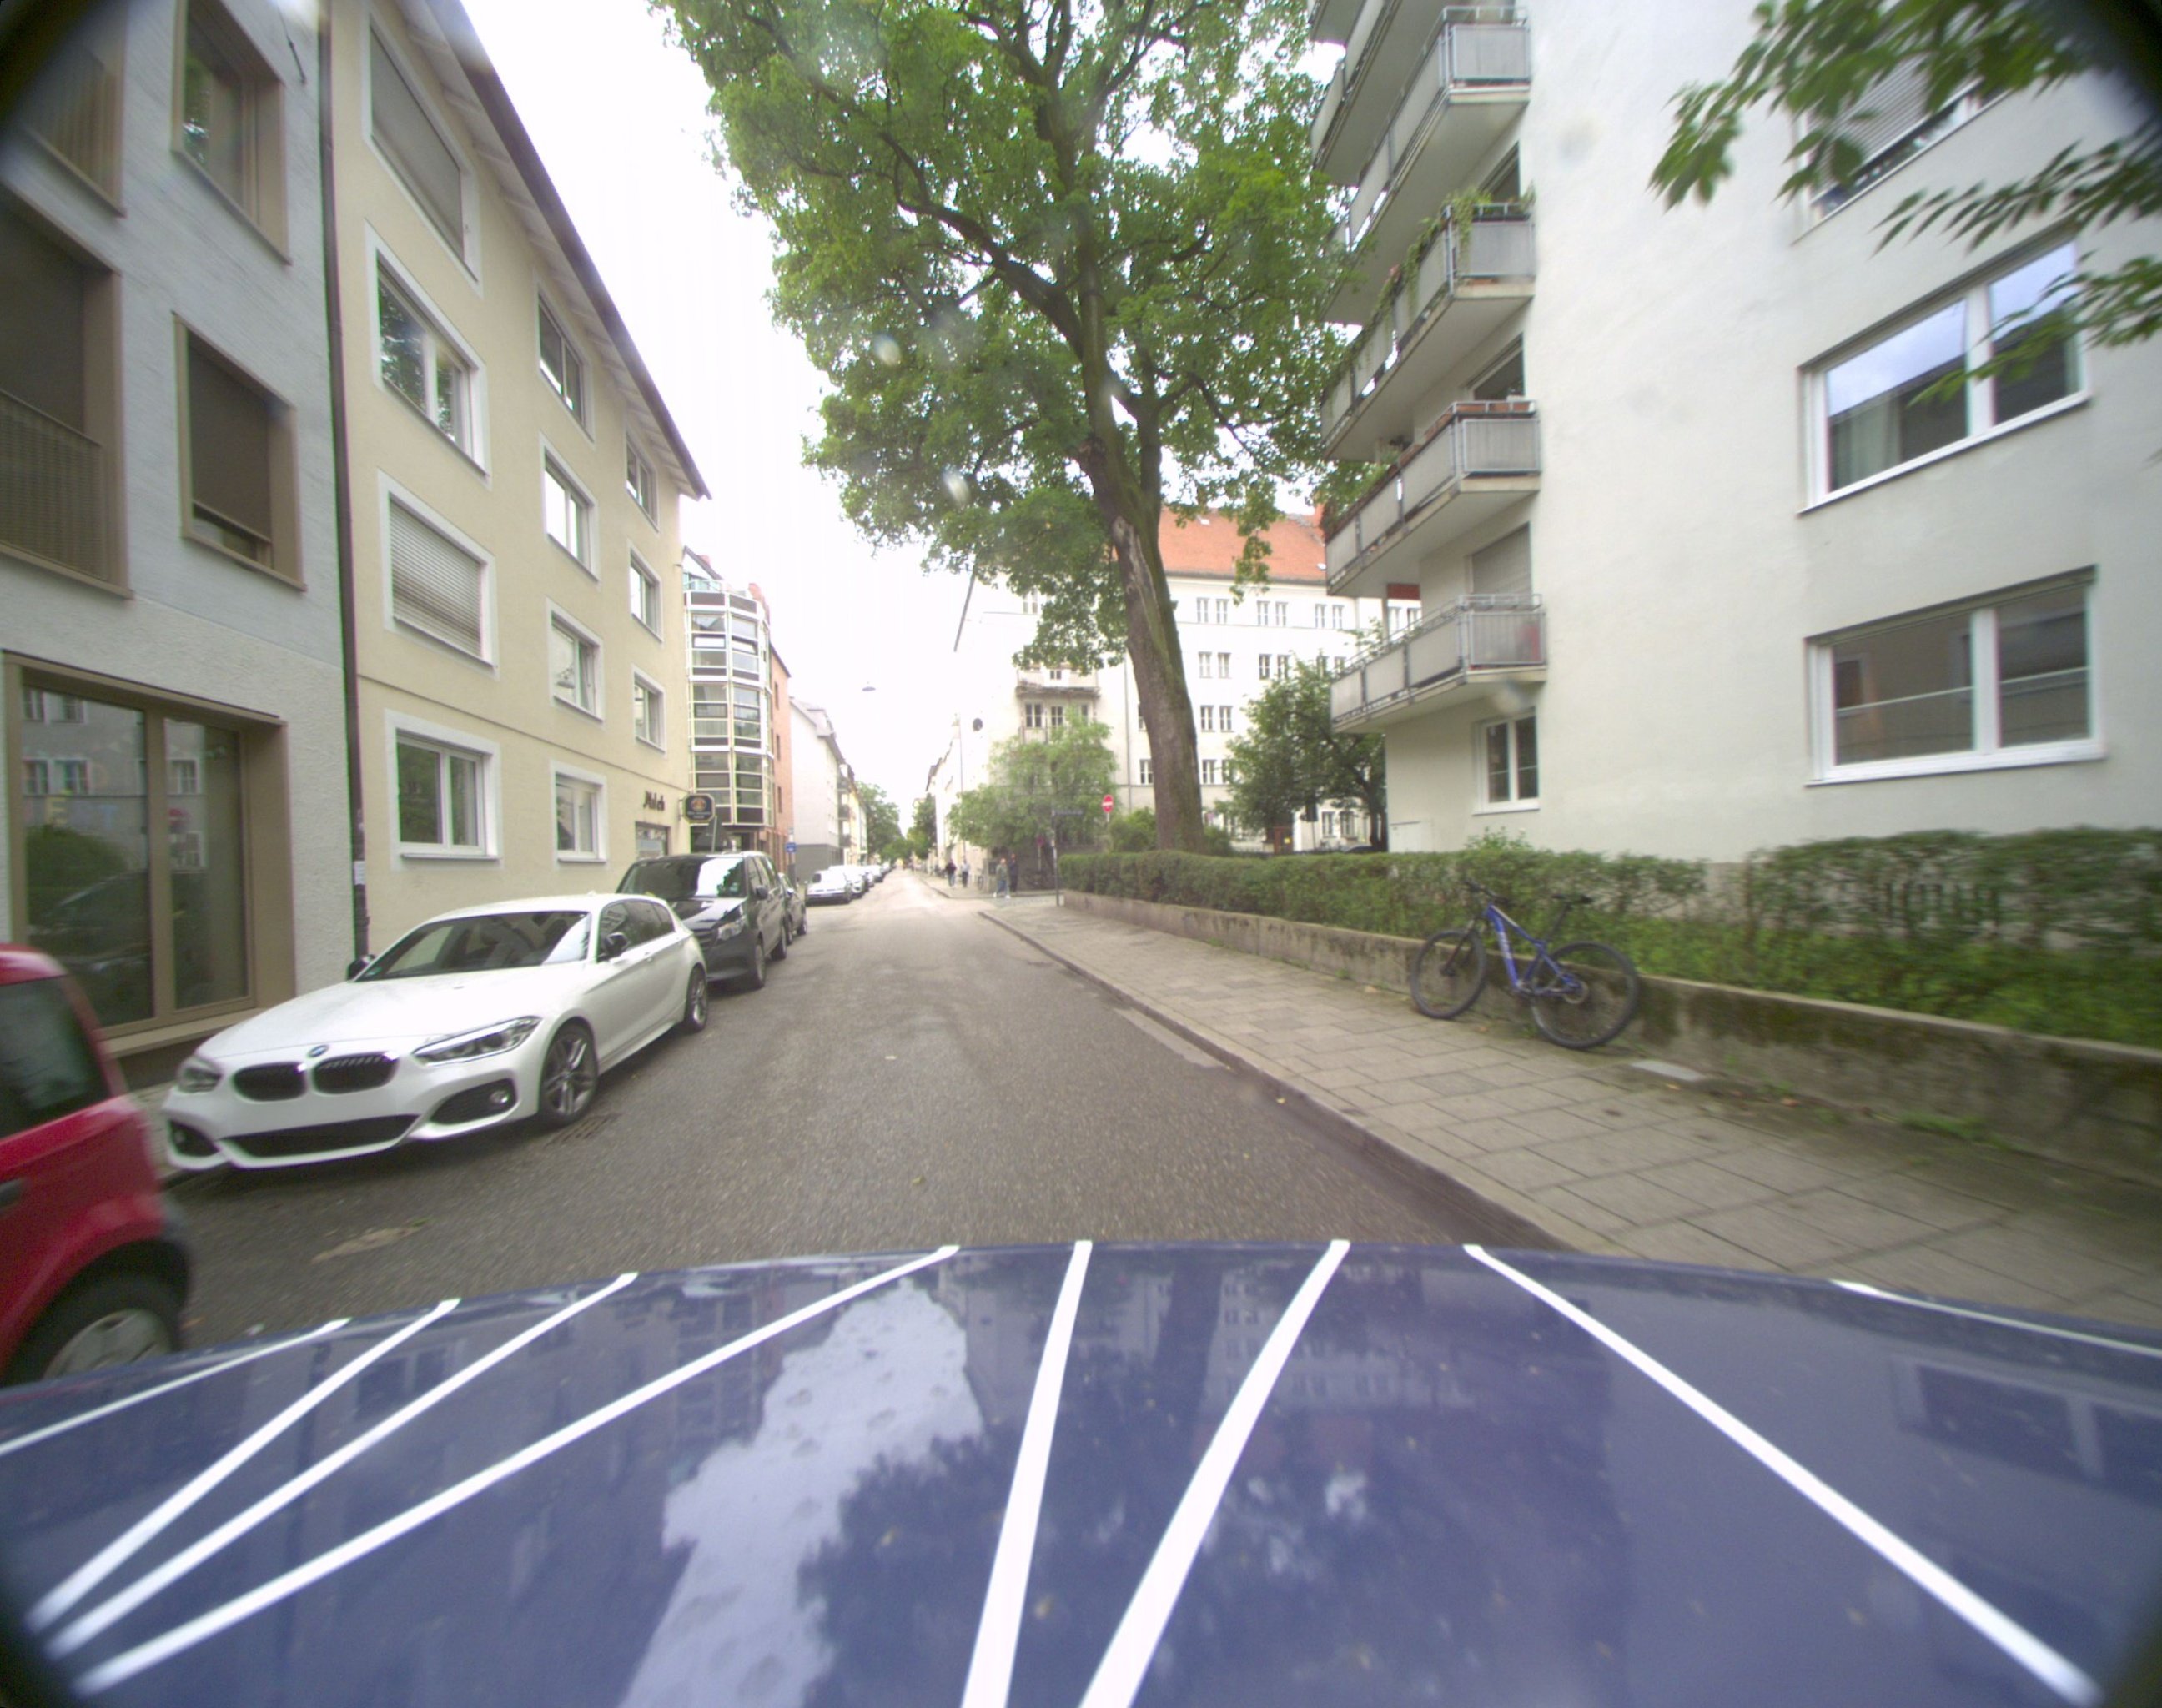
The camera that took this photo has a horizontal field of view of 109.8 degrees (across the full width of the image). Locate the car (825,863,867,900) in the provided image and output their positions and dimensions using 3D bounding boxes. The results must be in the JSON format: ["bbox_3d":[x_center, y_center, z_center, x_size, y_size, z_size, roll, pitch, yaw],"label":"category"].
[{"bbox_3d":[-11.579,1.293,37.643,1.727,1.606,4.449,-3,0,-15],"label":"car"}]

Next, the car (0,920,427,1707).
[{"bbox_3d":[-2.987,1.047,0.683,1.778,1.515,4.062,-4,0,-11],"label":"car"}]

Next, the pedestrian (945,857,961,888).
[{"bbox_3d":[-7.429,1.061,44.044,0.722,1.718,0.840,-6,1,-13],"label":"pedestrian"}]

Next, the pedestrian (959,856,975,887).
[{"bbox_3d":[-6.649,0.990,44.215,0.695,1.718,0.840,-6,1,-13],"label":"pedestrian"}]

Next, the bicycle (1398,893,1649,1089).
[{"bbox_3d":[3.023,0.863,5.417,0.348,1.066,1.778,-6,1,-13],"label":"bicycle"}]

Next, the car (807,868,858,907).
[{"bbox_3d":[-10.445,1.359,32.195,1.727,1.426,4.353,-3,0,-15],"label":"car"}]

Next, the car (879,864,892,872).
[{"bbox_3d":[-34.275,2.429,133.060,2.001,1.259,3.996,-3,0,-13],"label":"car"}]

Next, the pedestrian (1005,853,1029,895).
[{"bbox_3d":[-2.766,0.872,32.752,0.692,1.753,0.740,-5,1,-23],"label":"pedestrian"}]

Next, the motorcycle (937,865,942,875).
[{"bbox_3d":[-15.735,1.772,84.426,0.324,0.968,1.959,-3,0,-13],"label":"motorcycle"}]

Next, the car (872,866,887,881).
[{"bbox_3d":[-18.775,1.791,70.782,1.191,1.312,2.776,-3,0,-13],"label":"car"}]

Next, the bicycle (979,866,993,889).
[{"bbox_3d":[-4.820,1.178,38.471,0.432,1.088,1.701,-4,0,-15],"label":"bicycle"}]

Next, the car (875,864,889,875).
[{"bbox_3d":[-25.022,2.000,95.693,1.527,1.259,3.207,-3,0,-13],"label":"car"}]

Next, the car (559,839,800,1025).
[{"bbox_3d":[-5.451,0.895,11.108,1.998,1.965,4.878,-4,0,-16],"label":"car"}]

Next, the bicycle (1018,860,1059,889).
[{"bbox_3d":[-1.968,0.960,35.125,1.813,1.253,0.431,-2,0,-14],"label":"bicycle"}]

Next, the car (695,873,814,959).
[{"bbox_3d":[-6.813,1.208,16.203,1.640,1.463,3.534,-4,0,-13],"label":"car"}]

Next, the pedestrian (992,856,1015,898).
[{"bbox_3d":[-3.258,0.959,31.755,0.692,1.668,0.858,-5,1,-15],"label":"pedestrian"}]

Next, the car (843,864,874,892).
[{"bbox_3d":[-13.752,1.426,47.092,1.621,1.570,4.047,-3,0,-15],"label":"car"}]

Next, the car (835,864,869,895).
[{"bbox_3d":[-12.595,1.383,41.950,1.621,1.548,3.803,-3,0,-15],"label":"car"}]

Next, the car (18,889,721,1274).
[{"bbox_3d":[-4.304,1.134,5.751,1.774,1.453,4.375,-4,0,-12],"label":"car"}]

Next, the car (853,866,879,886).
[{"bbox_3d":[-16.020,1.623,56.689,1.621,1.368,3.813,-3,0,-13],"label":"car"}]

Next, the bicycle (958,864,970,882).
[{"bbox_3d":[-8.054,1.316,52.342,0.450,1.187,1.497,-3,0,-23],"label":"bicycle"}]
